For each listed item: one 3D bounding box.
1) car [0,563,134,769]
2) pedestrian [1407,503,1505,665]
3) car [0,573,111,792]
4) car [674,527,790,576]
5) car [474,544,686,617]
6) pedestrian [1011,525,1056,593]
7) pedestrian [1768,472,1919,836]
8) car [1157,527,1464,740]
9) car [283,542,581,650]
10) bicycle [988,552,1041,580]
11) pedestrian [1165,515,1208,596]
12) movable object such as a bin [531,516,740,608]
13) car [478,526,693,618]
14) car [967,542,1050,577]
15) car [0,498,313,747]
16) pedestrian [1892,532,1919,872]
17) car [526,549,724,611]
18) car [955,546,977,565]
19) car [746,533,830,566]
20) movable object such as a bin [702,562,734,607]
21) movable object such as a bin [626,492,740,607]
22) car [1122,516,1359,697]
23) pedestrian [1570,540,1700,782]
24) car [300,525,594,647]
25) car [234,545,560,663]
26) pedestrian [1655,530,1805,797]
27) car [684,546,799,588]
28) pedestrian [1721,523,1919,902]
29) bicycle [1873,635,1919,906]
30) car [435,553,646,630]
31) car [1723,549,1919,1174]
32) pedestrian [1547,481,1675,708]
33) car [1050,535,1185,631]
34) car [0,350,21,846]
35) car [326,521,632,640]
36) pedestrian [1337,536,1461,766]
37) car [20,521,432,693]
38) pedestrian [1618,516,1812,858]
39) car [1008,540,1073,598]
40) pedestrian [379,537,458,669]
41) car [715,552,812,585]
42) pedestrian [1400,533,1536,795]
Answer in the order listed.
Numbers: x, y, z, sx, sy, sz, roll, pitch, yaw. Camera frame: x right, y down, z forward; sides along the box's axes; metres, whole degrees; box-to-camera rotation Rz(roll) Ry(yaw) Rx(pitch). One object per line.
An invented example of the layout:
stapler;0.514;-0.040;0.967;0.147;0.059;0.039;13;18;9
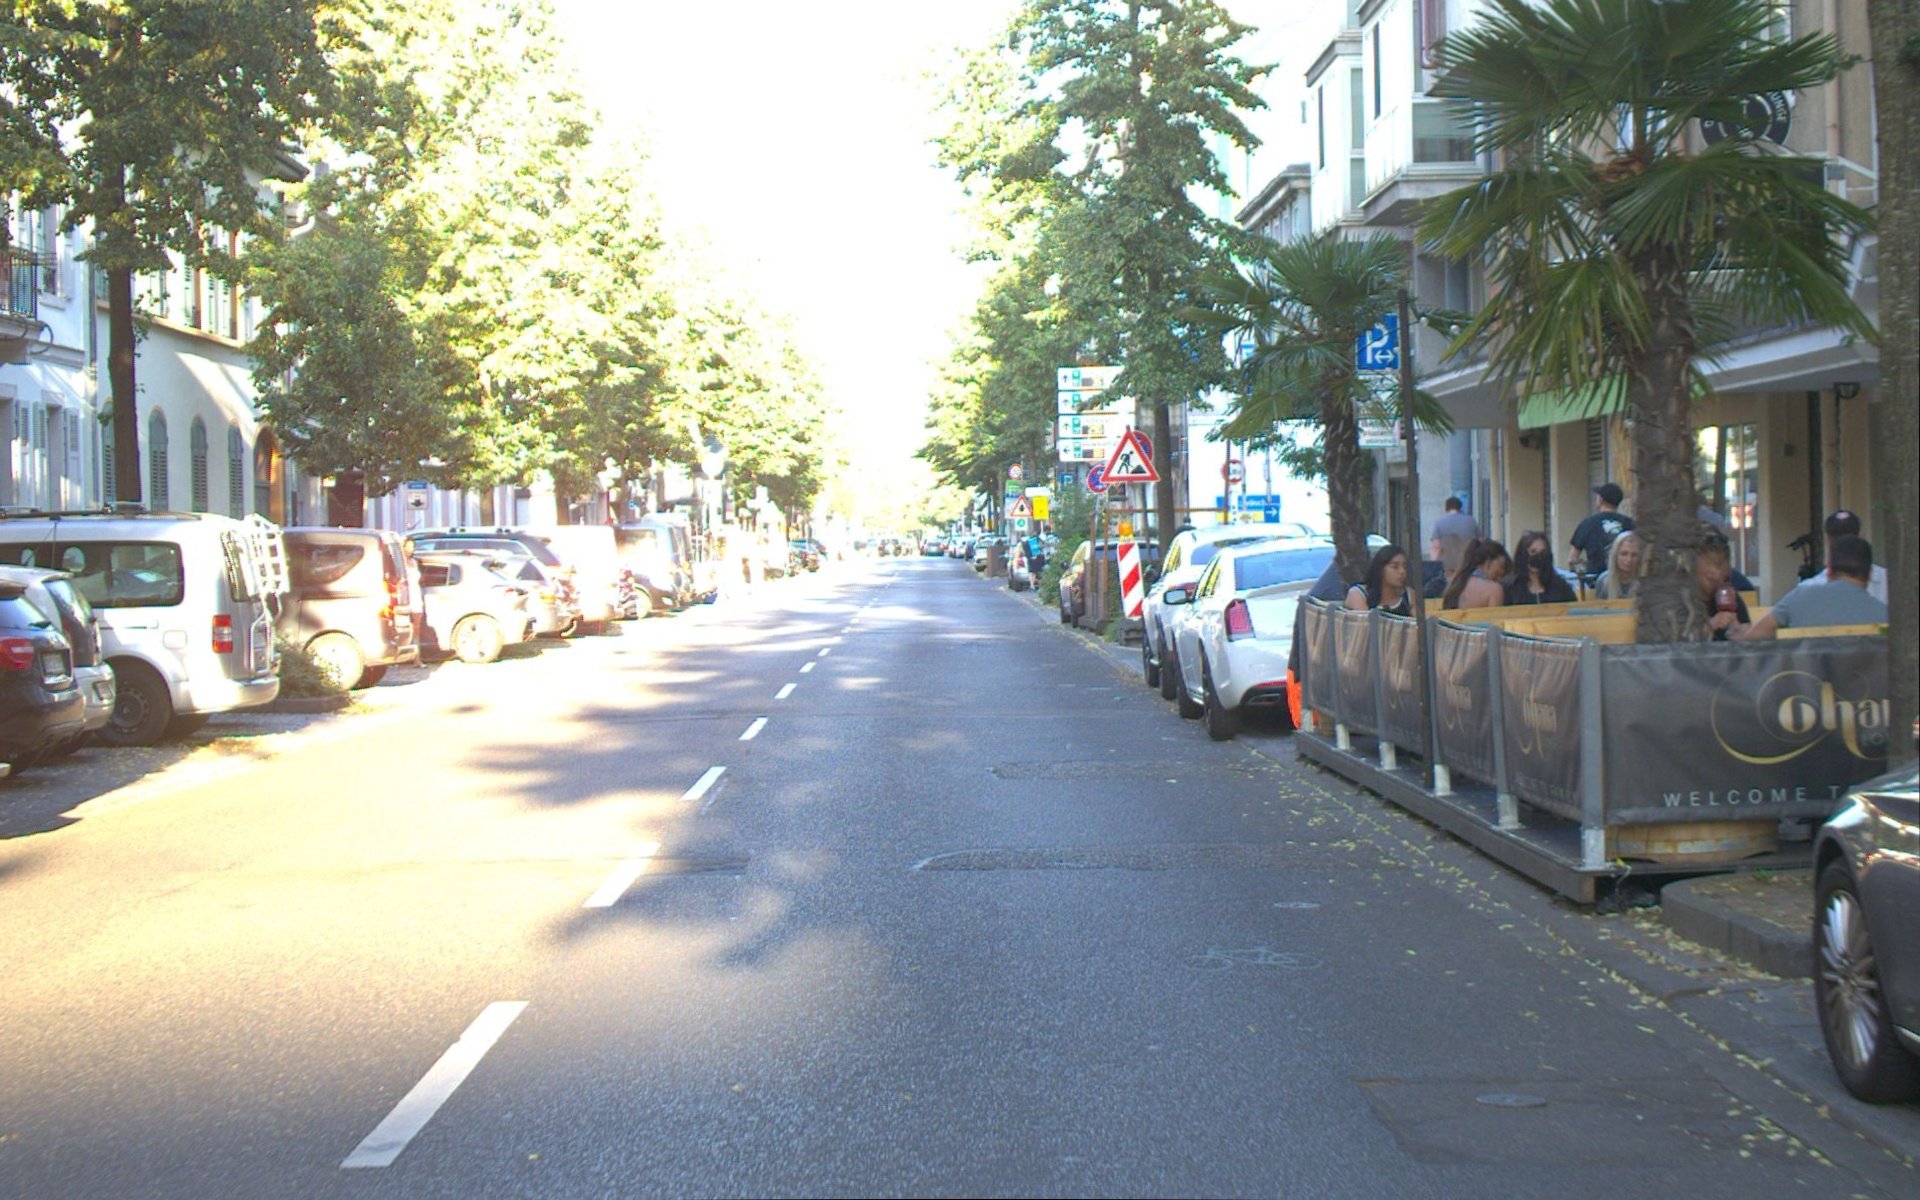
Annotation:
car;-7.960;0.458;25.396;3.368;1.462;1.713;0;1;-4
pedestrian;5.633;-0.184;39.068;0.855;1.788;0.997;-2;1;-4
car;-7.813;0.533;22.750;3.986;1.399;1.750;0;0;-2
car;-9.154;-1.952;138.401;4.571;1.955;1.991;0;0;0
car;-7.887;-0.412;71.455;4.325;1.496;1.842;0;1;-5
pedestrian;2.014;-1.130;94.676;1.013;1.819;0.780;-4;1;-10
pedestrian;4.167;0.228;15.656;0.708;1.593;0.795;-3;1;0
car;2.751;0.207;28.133;1.842;1.475;5.190;-3;1;-1
car;-7.684;-0.072;50.317;4.037;1.478;1.963;-1;1;-1
bicycle;2.090;-1.315;132.251;1.957;1.070;0.704;0;1;31
pedestrian;5.352;-1.059;81.334;0.822;1.847;1.097;-3;1;-2
movable object such as a bin;-9.100;-1.091;96.824;2.312;2.486;5.740;0;1;43
car;-8.203;-0.626;75.600;4.483;1.969;2.068;0;1;0
car;2.210;-1.840;156.977;1.674;1.583;3.814;0;1;42
car;-7.726;0.171;28.027;4.500;1.947;1.919;0;1;2
pedestrian;4.037;0.394;13.540;0.547;1.340;0.438;-3;1;0
car;-8.166;-0.499;84.037;4.594;1.465;1.892;0;1;3
car;0.406;-3.078;236.473;1.513;1.271;3.303;0;0;1
car;-9.318;-2.738;186.666;4.442;1.753;1.919;0;0;0
movable object such as a bin;-6.051;-0.389;86.063;0.690;1.101;0.883;-2;1;1
movable object such as a bin;-7.377;-1.346;92.103;2.625;2.959;5.304;-1;1;-1
car;2.714;0.019;34.269;1.879;1.568;4.692;-3;1;0
pedestrian;3.984;0.353;20.321;0.577;1.380;0.603;-3;1;0
car;-8.226;-0.236;55.424;4.428;1.863;1.894;-1;1;0
car;-7.399;0.039;45.415;4.058;1.456;1.686;-1;1;-3
pedestrian;4.136;0.329;18.496;0.577;1.380;0.718;-3;1;0
car;-8.956;-1.346;141.201;4.571;1.692;2.060;0;0;0
pedestrian;3.434;0.435;13.752;0.577;1.457;0.603;-3;1;0
bicycle;3.752;0.633;12.167;0.385;0.980;1.712;-1;1;-7
car;-8.322;-0.183;68.416;3.923;1.496;1.905;0;1;2
car;3.091;0.595;7.504;1.774;1.435;5.000;-3;1;1
pedestrian;5.004;-0.048;26.463;0.788;1.698;0.700;-2;1;0
car;2.659;-0.320;59.042;1.828;1.483;4.850;-3;1;-2
car;-7.878;-0.013;17.399;5.658;2.612;2.171;0;1;0
car;-8.088;-0.344;58.084;4.870;1.901;1.974;-1;1;0
pedestrian;2.601;0.295;20.432;0.577;1.315;0.704;-3;1;0
car;-8.108;0.063;38.224;4.138;1.800;1.807;-1;1;1
pedestrian;3.417;0.378;15.604;0.631;1.480;0.795;-3;1;0
car;2.342;-0.911;100.584;1.687;1.569;4.013;-3;1;0
pedestrian;-6.844;0.026;43.491;0.827;1.632;0.827;-2;1;0
car;-9.299;-1.488;162.774;4.442;1.562;1.919;0;0;0
pedestrian;2.763;0.338;18.737;0.577;1.380;0.603;-3;1;0
